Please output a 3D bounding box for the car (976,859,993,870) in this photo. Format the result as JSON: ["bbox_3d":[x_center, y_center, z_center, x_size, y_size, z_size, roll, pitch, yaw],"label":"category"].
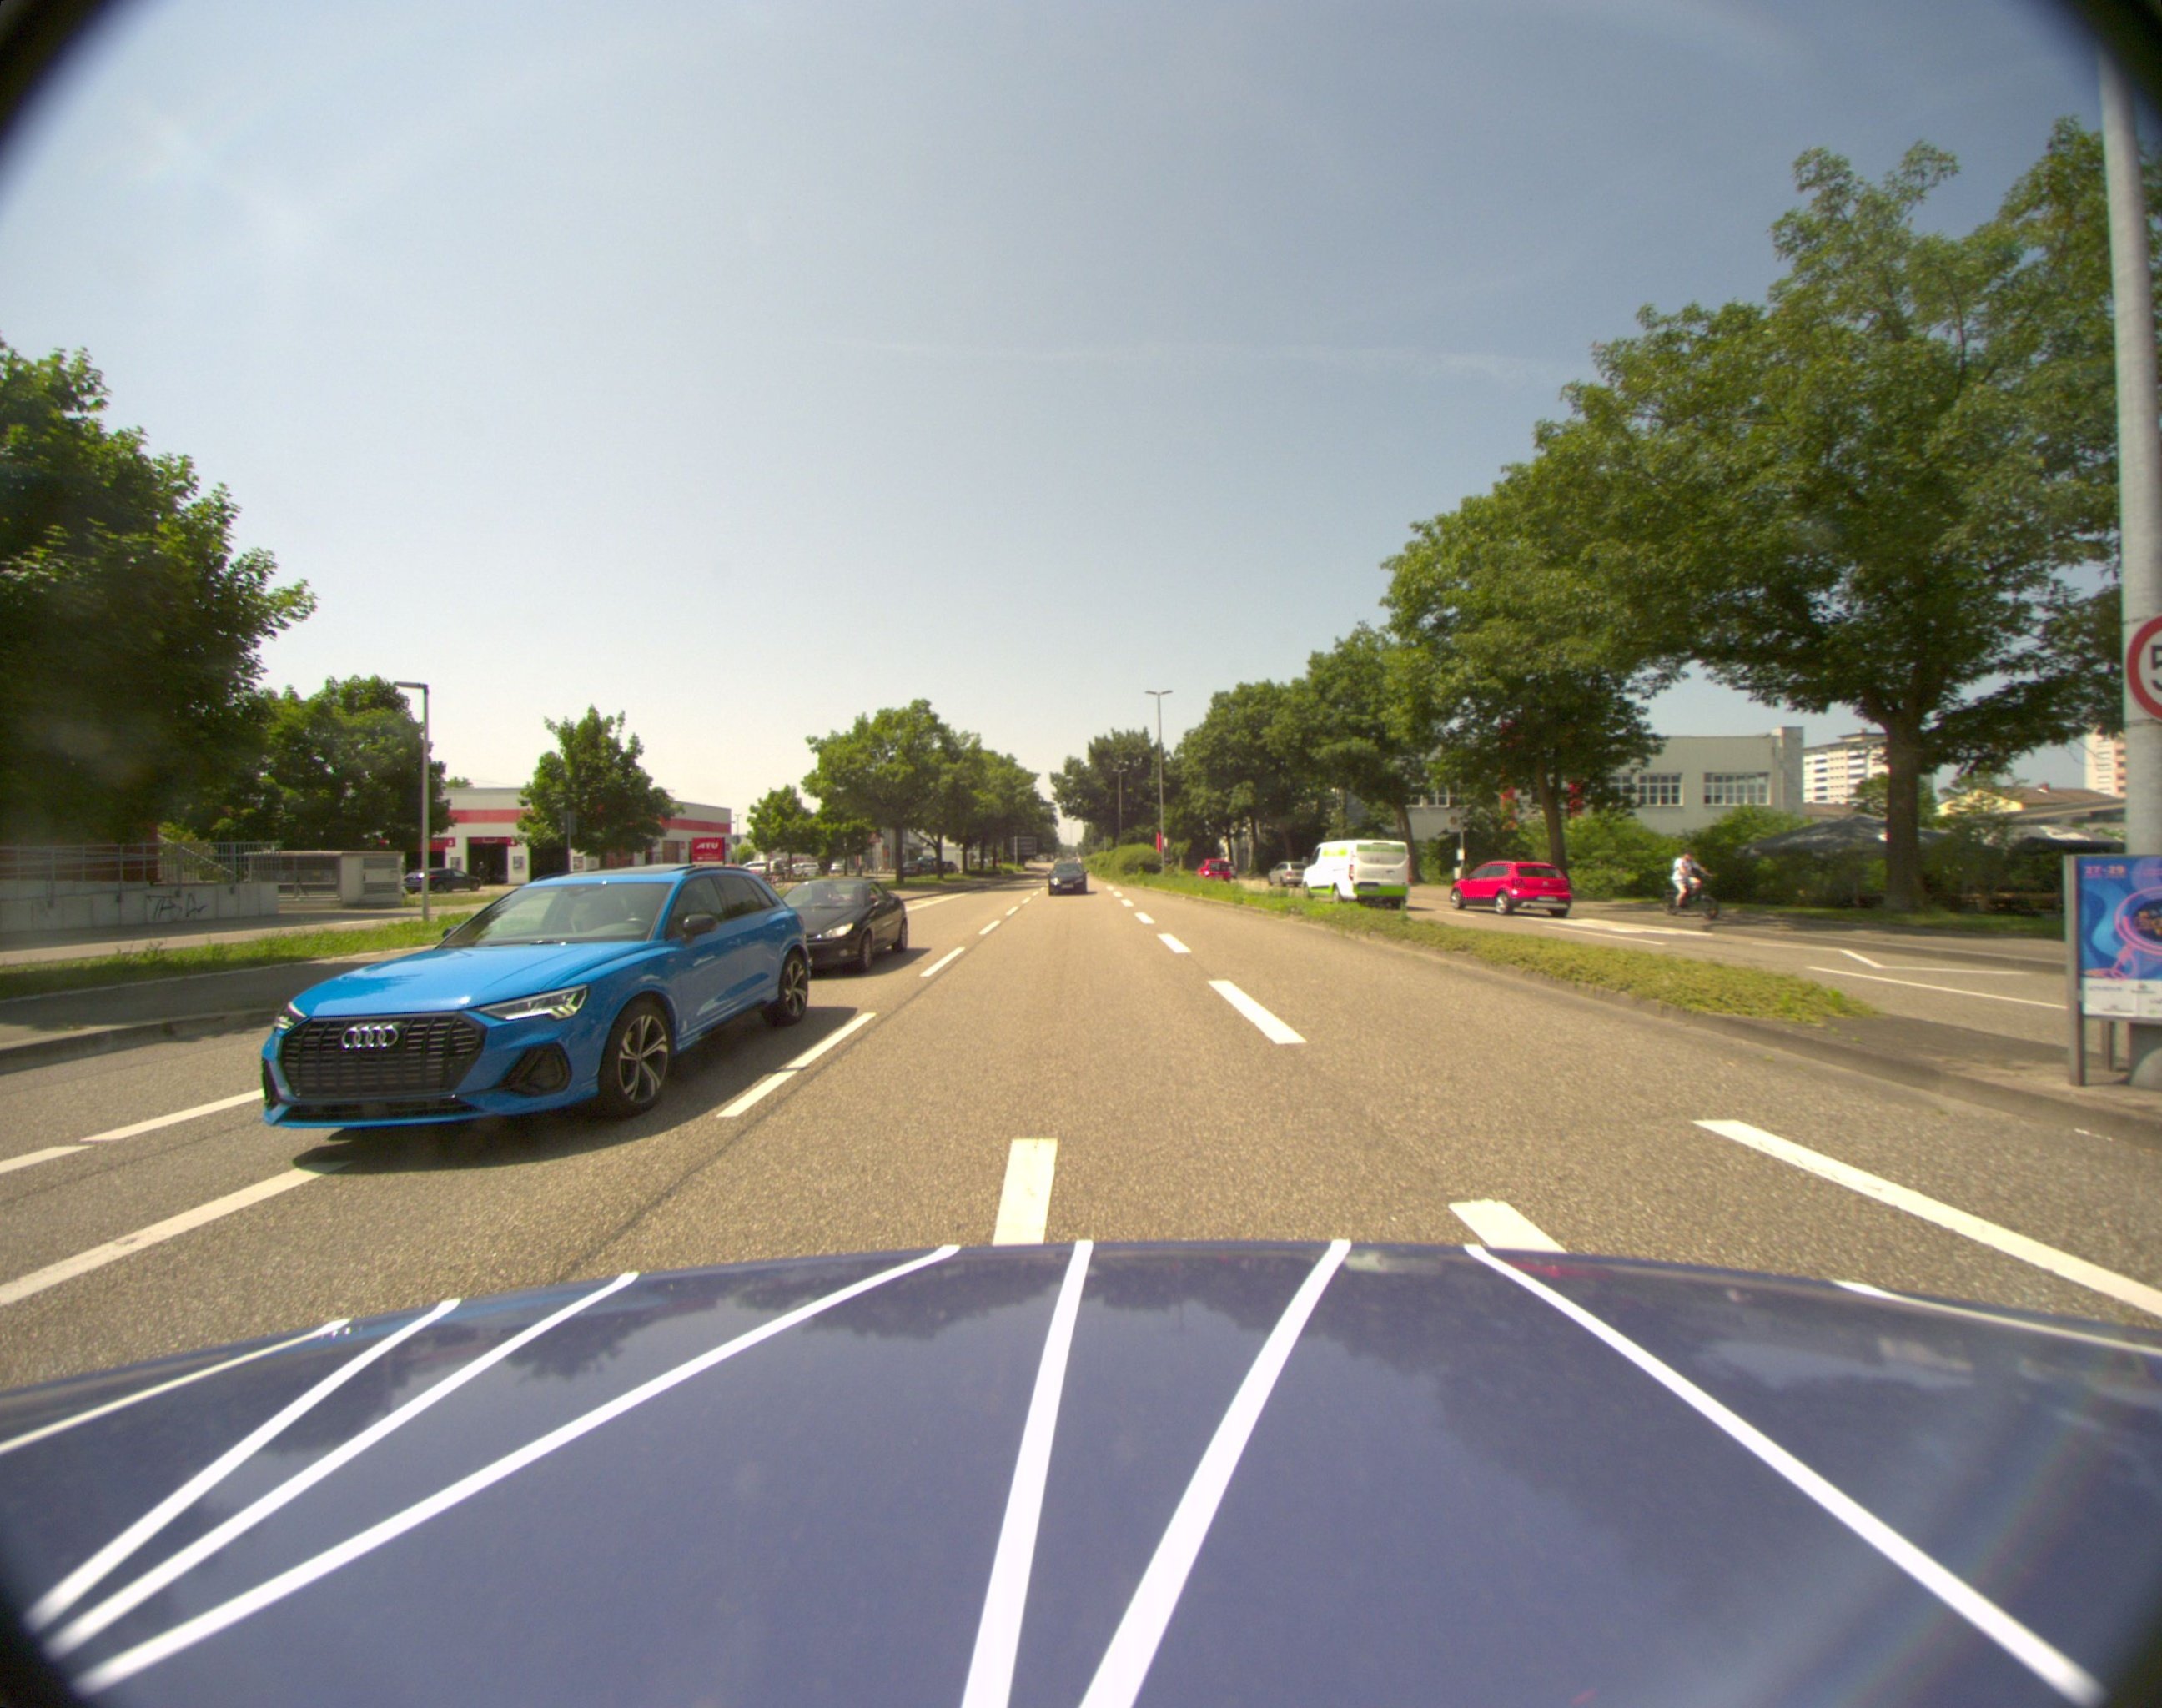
[{"bbox_3d":[-13.234,1.466,104.433,1.719,1.458,4.000,0,0,1],"label":"car"}]

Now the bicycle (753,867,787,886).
[{"bbox_3d":[-18.361,1.327,44.911,1.784,1.117,0.514,0,0,-6],"label":"bicycle"}]

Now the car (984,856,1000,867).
[{"bbox_3d":[-13.085,1.105,111.938,1.719,1.458,4.000,0,0,1],"label":"car"}]

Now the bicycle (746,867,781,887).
[{"bbox_3d":[-18.177,1.340,43.552,1.784,1.117,0.514,0,0,-6],"label":"bicycle"}]

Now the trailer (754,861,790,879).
[{"bbox_3d":[-27.250,1.385,67.055,2.642,1.518,1.415,0,0,-2],"label":"trailer"}]

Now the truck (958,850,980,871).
[{"bbox_3d":[-13.505,0.780,91.835,1.904,2.552,4.001,0,0,2],"label":"truck"}]

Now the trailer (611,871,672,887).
[{"bbox_3d":[-23.654,1.333,40.938,2.467,0.757,1.449,-1,0,1],"label":"trailer"}]

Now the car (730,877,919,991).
[{"bbox_3d":[-3.849,1.130,12.147,1.642,1.336,4.000,-3,0,0],"label":"car"}]

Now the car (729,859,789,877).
[{"bbox_3d":[-25.252,1.099,59.716,3.998,1.394,1.747,0,0,-3],"label":"car"}]

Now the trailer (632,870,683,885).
[{"bbox_3d":[-23.872,1.319,42.897,2.137,0.757,1.267,-1,0,1],"label":"trailer"}]

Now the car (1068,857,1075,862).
[{"bbox_3d":[-3.009,1.679,235.756,1.999,1.692,4.000,0,0,0],"label":"car"}]

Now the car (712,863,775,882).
[{"bbox_3d":[-25.481,1.400,57.487,3.998,1.394,1.747,0,0,-2],"label":"car"}]

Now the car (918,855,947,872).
[{"bbox_3d":[-13.399,0.855,68.758,1.719,1.458,4.000,0,0,1],"label":"car"}]

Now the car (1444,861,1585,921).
[{"bbox_3d":[11.974,0.966,21.313,1.710,1.444,3.891,2,0,0],"label":"car"}]

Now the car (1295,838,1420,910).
[{"bbox_3d":[8.378,0.558,23.550,1.999,1.934,4.908,2,0,-1],"label":"car"}]

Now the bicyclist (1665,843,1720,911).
[{"bbox_3d":[14.975,0.557,18.638,0.609,1.621,0.923,0,1,0],"label":"bicyclist"}]

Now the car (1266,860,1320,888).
[{"bbox_3d":[11.954,1.095,43.115,1.782,1.396,4.359,2,0,-1],"label":"car"}]

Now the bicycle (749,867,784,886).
[{"bbox_3d":[-18.271,1.305,44.192,1.784,1.117,0.514,0,0,-6],"label":"bicycle"}]

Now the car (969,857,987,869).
[{"bbox_3d":[-13.269,1.139,97.669,1.719,1.458,4.000,0,0,1],"label":"car"}]

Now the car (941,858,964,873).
[{"bbox_3d":[-13.527,1.201,80.105,1.719,1.504,4.000,0,0,1],"label":"car"}]

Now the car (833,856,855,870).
[{"bbox_3d":[-27.386,1.048,87.808,1.759,1.586,3.998,0,0,-7],"label":"car"}]

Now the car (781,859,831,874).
[{"bbox_3d":[-25.090,1.104,69.429,3.998,1.293,1.689,0,0,-3],"label":"car"}]

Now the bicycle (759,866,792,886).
[{"bbox_3d":[-18.396,1.321,45.742,1.784,1.117,0.514,0,0,-6],"label":"bicycle"}]

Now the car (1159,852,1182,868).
[{"bbox_3d":[9.064,0.583,77.301,1.753,1.560,4.153,2,0,0],"label":"car"}]

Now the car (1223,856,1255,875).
[{"bbox_3d":[13.148,0.957,63.309,1.753,1.442,4.133,2,0,0],"label":"car"}]

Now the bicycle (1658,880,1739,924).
[{"bbox_3d":[14.981,1.153,18.488,0.619,0.963,1.660,0,0,1],"label":"bicycle"}]

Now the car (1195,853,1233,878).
[{"bbox_3d":[8.126,0.698,46.548,1.584,1.432,3.608,2,0,-1],"label":"car"}]

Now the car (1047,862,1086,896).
[{"bbox_3d":[-0.622,1.100,34.295,1.642,1.395,4.000,0,0,-1],"label":"car"}]

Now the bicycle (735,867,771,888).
[{"bbox_3d":[-18.449,1.316,42.806,1.784,1.117,0.514,0,0,-6],"label":"bicycle"}]

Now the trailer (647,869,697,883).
[{"bbox_3d":[-23.974,1.302,44.601,2.137,0.757,1.394,-1,0,2],"label":"trailer"}]

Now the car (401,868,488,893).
[{"bbox_3d":[-38.144,1.570,45.654,1.717,1.364,4.145,0,0,0],"label":"car"}]

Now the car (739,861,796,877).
[{"bbox_3d":[-25.575,1.222,62.085,3.998,1.201,1.747,0,0,-3],"label":"car"}]

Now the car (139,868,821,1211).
[{"bbox_3d":[-3.733,0.966,5.977,1.842,1.586,4.400,-1,0,0],"label":"car"}]

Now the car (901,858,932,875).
[{"bbox_3d":[-13.487,0.994,62.529,1.642,1.363,4.000,0,0,1],"label":"car"}]

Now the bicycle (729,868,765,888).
[{"bbox_3d":[-18.534,1.333,42.180,1.784,1.117,0.514,0,0,-6],"label":"bicycle"}]

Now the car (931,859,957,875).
[{"bbox_3d":[-13.302,1.215,73.930,1.719,1.511,4.000,0,0,1],"label":"car"}]

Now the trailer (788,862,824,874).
[{"bbox_3d":[-24.318,1.224,67.255,2.642,1.046,1.578,0,0,-2],"label":"trailer"}]
